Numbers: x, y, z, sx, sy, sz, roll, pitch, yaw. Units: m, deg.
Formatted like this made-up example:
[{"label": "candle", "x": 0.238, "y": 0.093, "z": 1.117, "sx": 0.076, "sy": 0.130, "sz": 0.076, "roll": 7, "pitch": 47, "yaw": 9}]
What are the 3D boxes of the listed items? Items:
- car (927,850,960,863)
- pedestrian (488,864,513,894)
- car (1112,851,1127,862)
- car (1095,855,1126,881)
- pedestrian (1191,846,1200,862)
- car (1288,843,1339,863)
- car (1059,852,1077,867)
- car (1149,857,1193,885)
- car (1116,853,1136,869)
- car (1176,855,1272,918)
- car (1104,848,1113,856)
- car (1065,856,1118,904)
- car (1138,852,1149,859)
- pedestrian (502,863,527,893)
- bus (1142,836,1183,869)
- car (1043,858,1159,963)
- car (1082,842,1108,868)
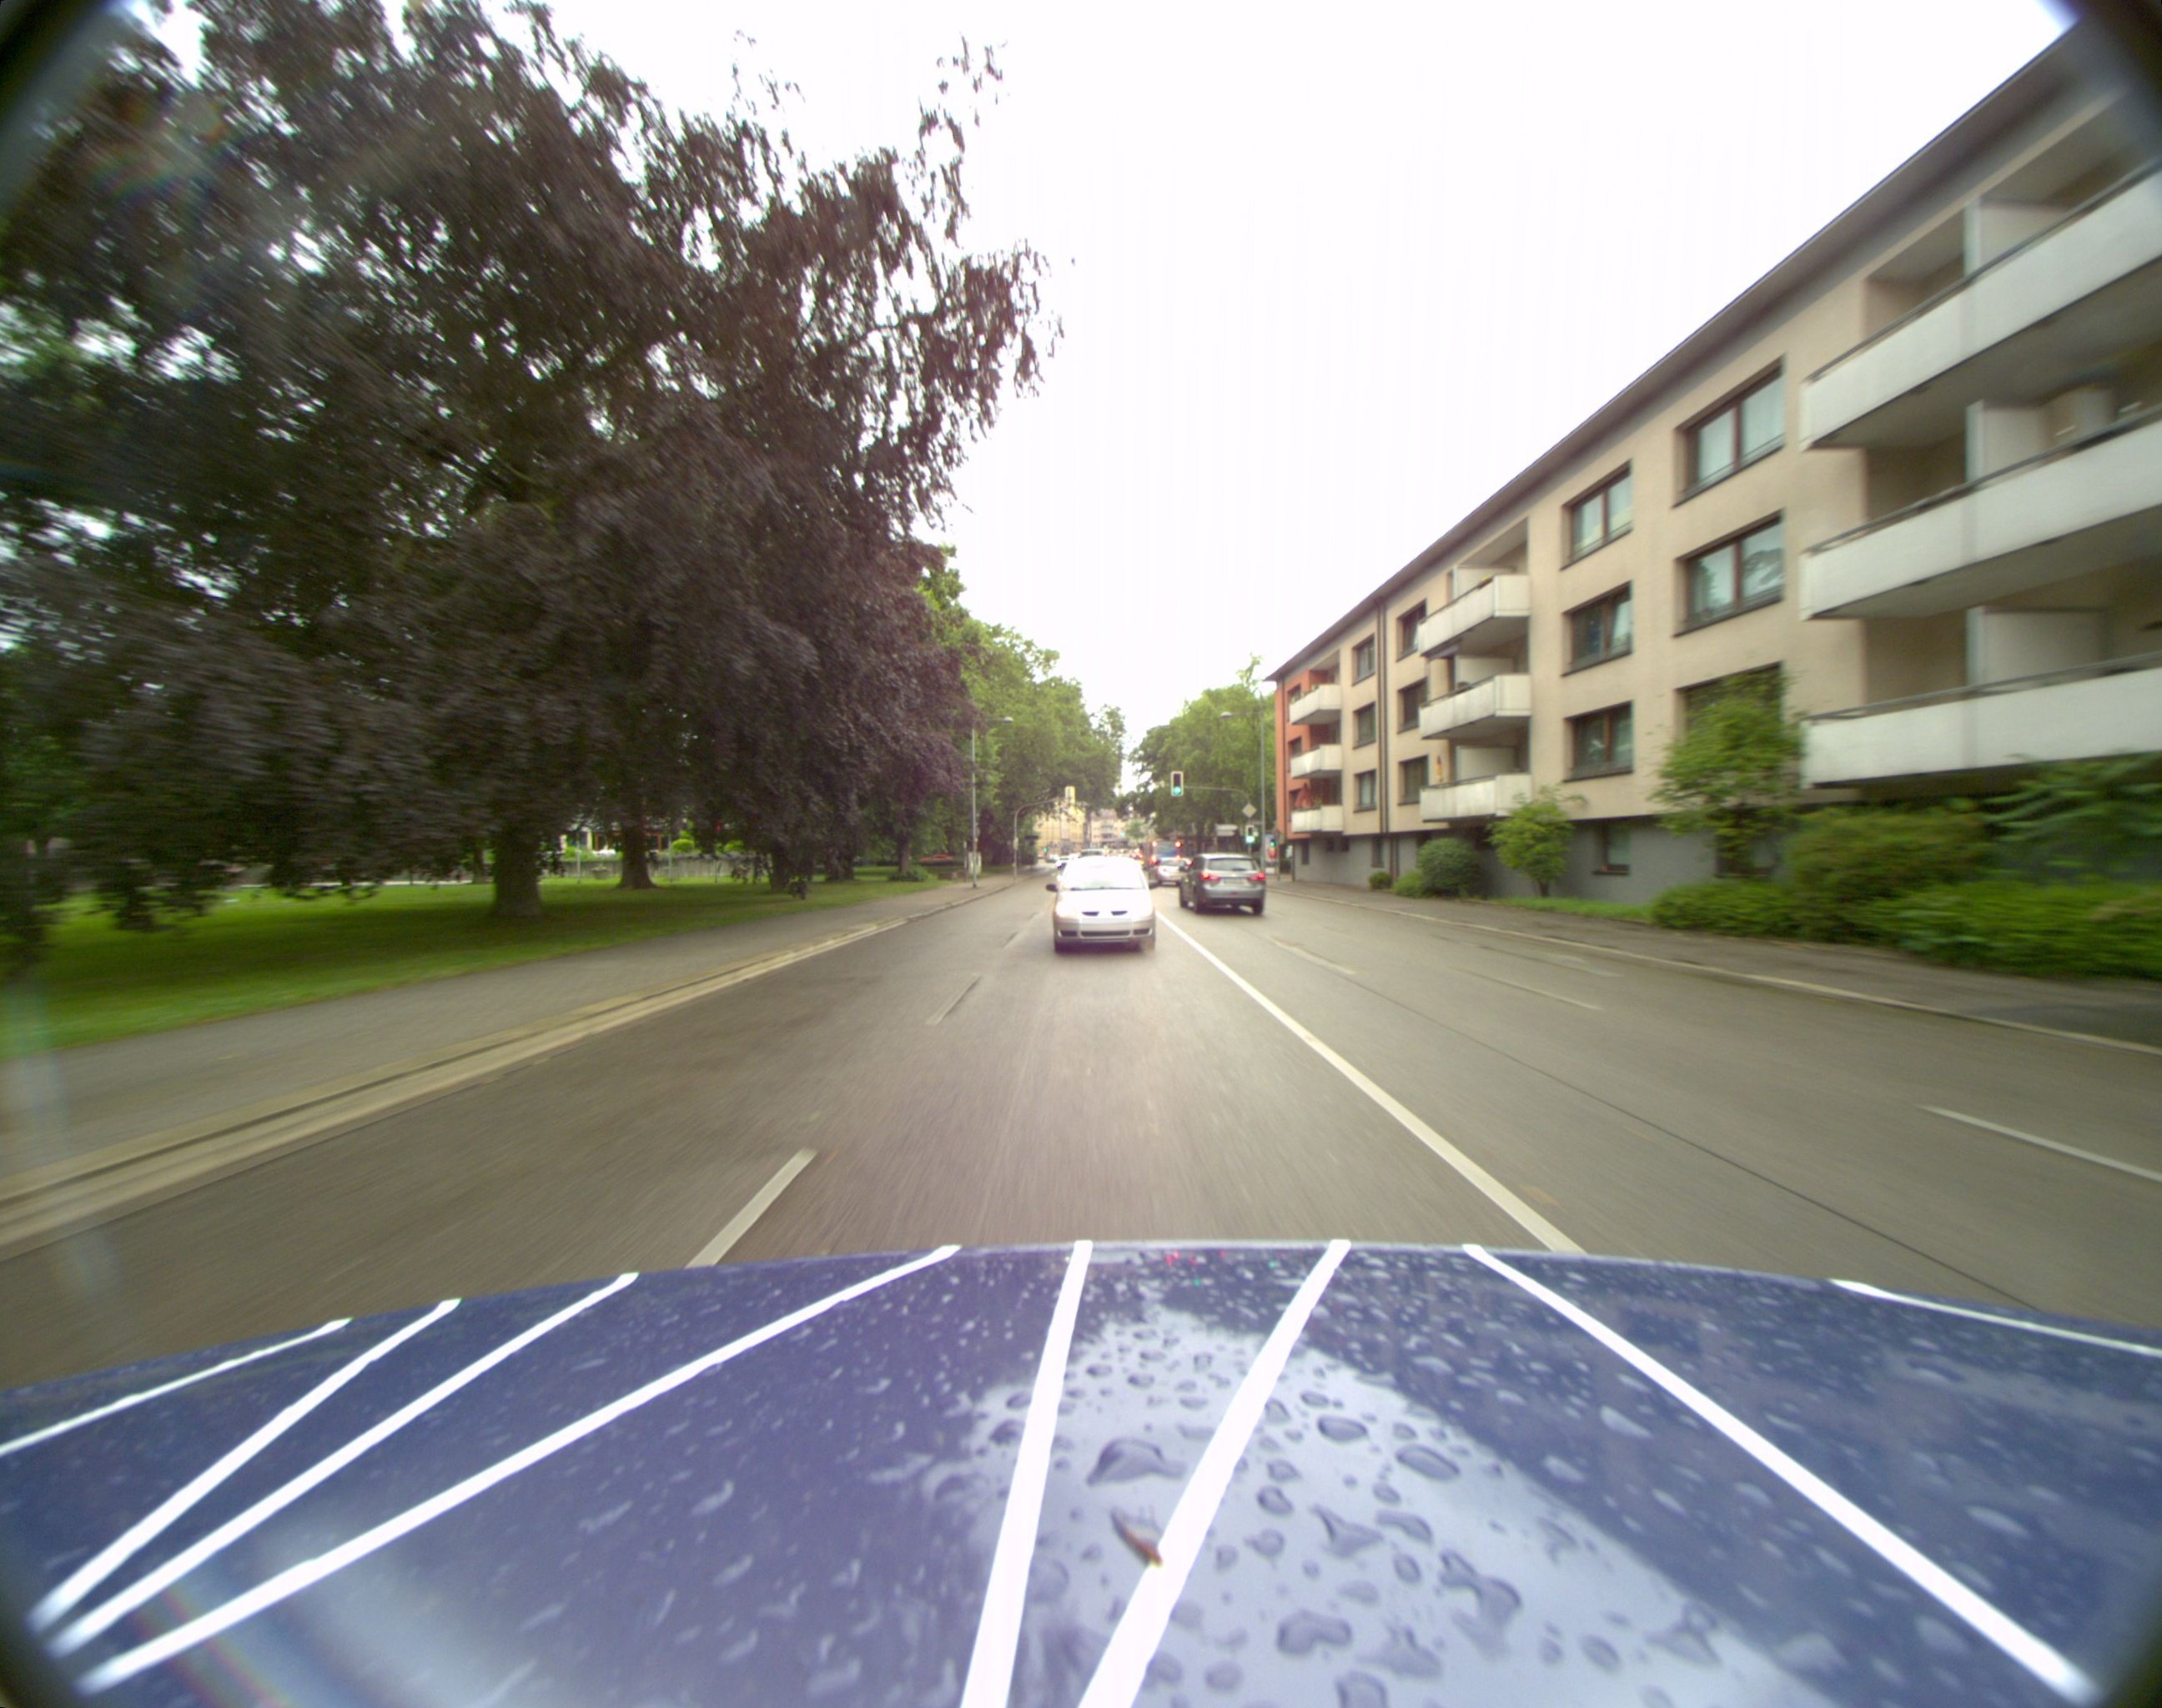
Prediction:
[{"label": "car", "x": -18.348, "y": 0.392, "z": 101.534, "sx": 3.998, "sy": 1.706, "sz": 1.999, "roll": 0, "pitch": 0, "yaw": -2}, {"label": "pedestrian", "x": -35.601, "y": 1.504, "z": 46.594, "sx": 0.840, "sy": 1.753, "sz": 0.771, "roll": -3, "pitch": 1, "yaw": -5}, {"label": "car", "x": 4.957, "y": 0.320, "z": 98.364, "sx": 1.798, "sy": 1.407, "sz": 4.335, "roll": 0, "pitch": 0, "yaw": 0}, {"label": "car", "x": 1.748, "y": 0.817, "z": 45.595, "sx": 1.800, "sy": 1.449, "sz": 4.491, "roll": 0, "pitch": 0, "yaw": 1}, {"label": "pedestrian", "x": 12.274, "y": -0.004, "z": 81.366, "sx": 0.711, "sy": 1.759, "sz": 0.687, "roll": -3, "pitch": 1, "yaw": 1}, {"label": "car", "x": 22.369, "y": -0.097, "z": 73.233, "sx": 4.334, "sy": 1.911, "sz": 1.702, "roll": 0, "pitch": 0, "yaw": -2}, {"label": "car", "x": -1.500, "y": 0.604, "z": 88.190, "sx": 1.906, "sy": 1.538, "sz": 4.000, "roll": -1, "pitch": 1, "yaw": 2}, {"label": "car", "x": 4.620, "y": 0.841, "z": 39.527, "sx": 1.818, "sy": 1.407, "sz": 4.048, "roll": 0, "pitch": 0, "yaw": 0}, {"label": "car", "x": 4.203, "y": 0.628, "z": 71.825, "sx": 1.691, "sy": 1.483, "sz": 3.890, "roll": 1, "pitch": 0, "yaw": 0}, {"label": "car", "x": 3.844, "y": 0.822, "z": 21.091, "sx": 1.818, "sy": 1.569, "sz": 4.231, "roll": 0, "pitch": 0, "yaw": -1}, {"label": "car", "x": 5.789, "y": -0.434, "z": 159.654, "sx": 1.802, "sy": 1.508, "sz": 4.580, "roll": 1, "pitch": 0, "yaw": 0}, {"label": "car", "x": 0.364, "y": 0.869, "z": 27.222, "sx": 1.718, "sy": 1.509, "sz": 4.088, "roll": -1, "pitch": 0, "yaw": 0}, {"label": "car", "x": 13.031, "y": 0.356, "z": 159.006, "sx": 1.802, "sy": 1.508, "sz": 4.807, "roll": 1, "pitch": 0, "yaw": 0}, {"label": "pedestrian", "x": -35.571, "y": 1.494, "z": 47.712, "sx": 0.840, "sy": 1.753, "sz": 0.879, "roll": -3, "pitch": 1, "yaw": -5}, {"label": "bus", "x": 7.725, "y": -0.253, "z": 73.531, "sx": 2.700, "sy": 2.923, "sz": 12.083, "roll": 0, "pitch": 1, "yaw": 1}, {"label": "car", "x": 0.324, "y": 0.885, "z": 14.158, "sx": 1.718, "sy": 1.509, "sz": 4.806, "roll": -3, "pitch": 0, "yaw": 0}, {"label": "car", "x": 1.189, "y": 0.063, "z": 64.094, "sx": 2.037, "sy": 2.119, "sz": 4.000, "roll": -1, "pitch": 1, "yaw": 2}]
